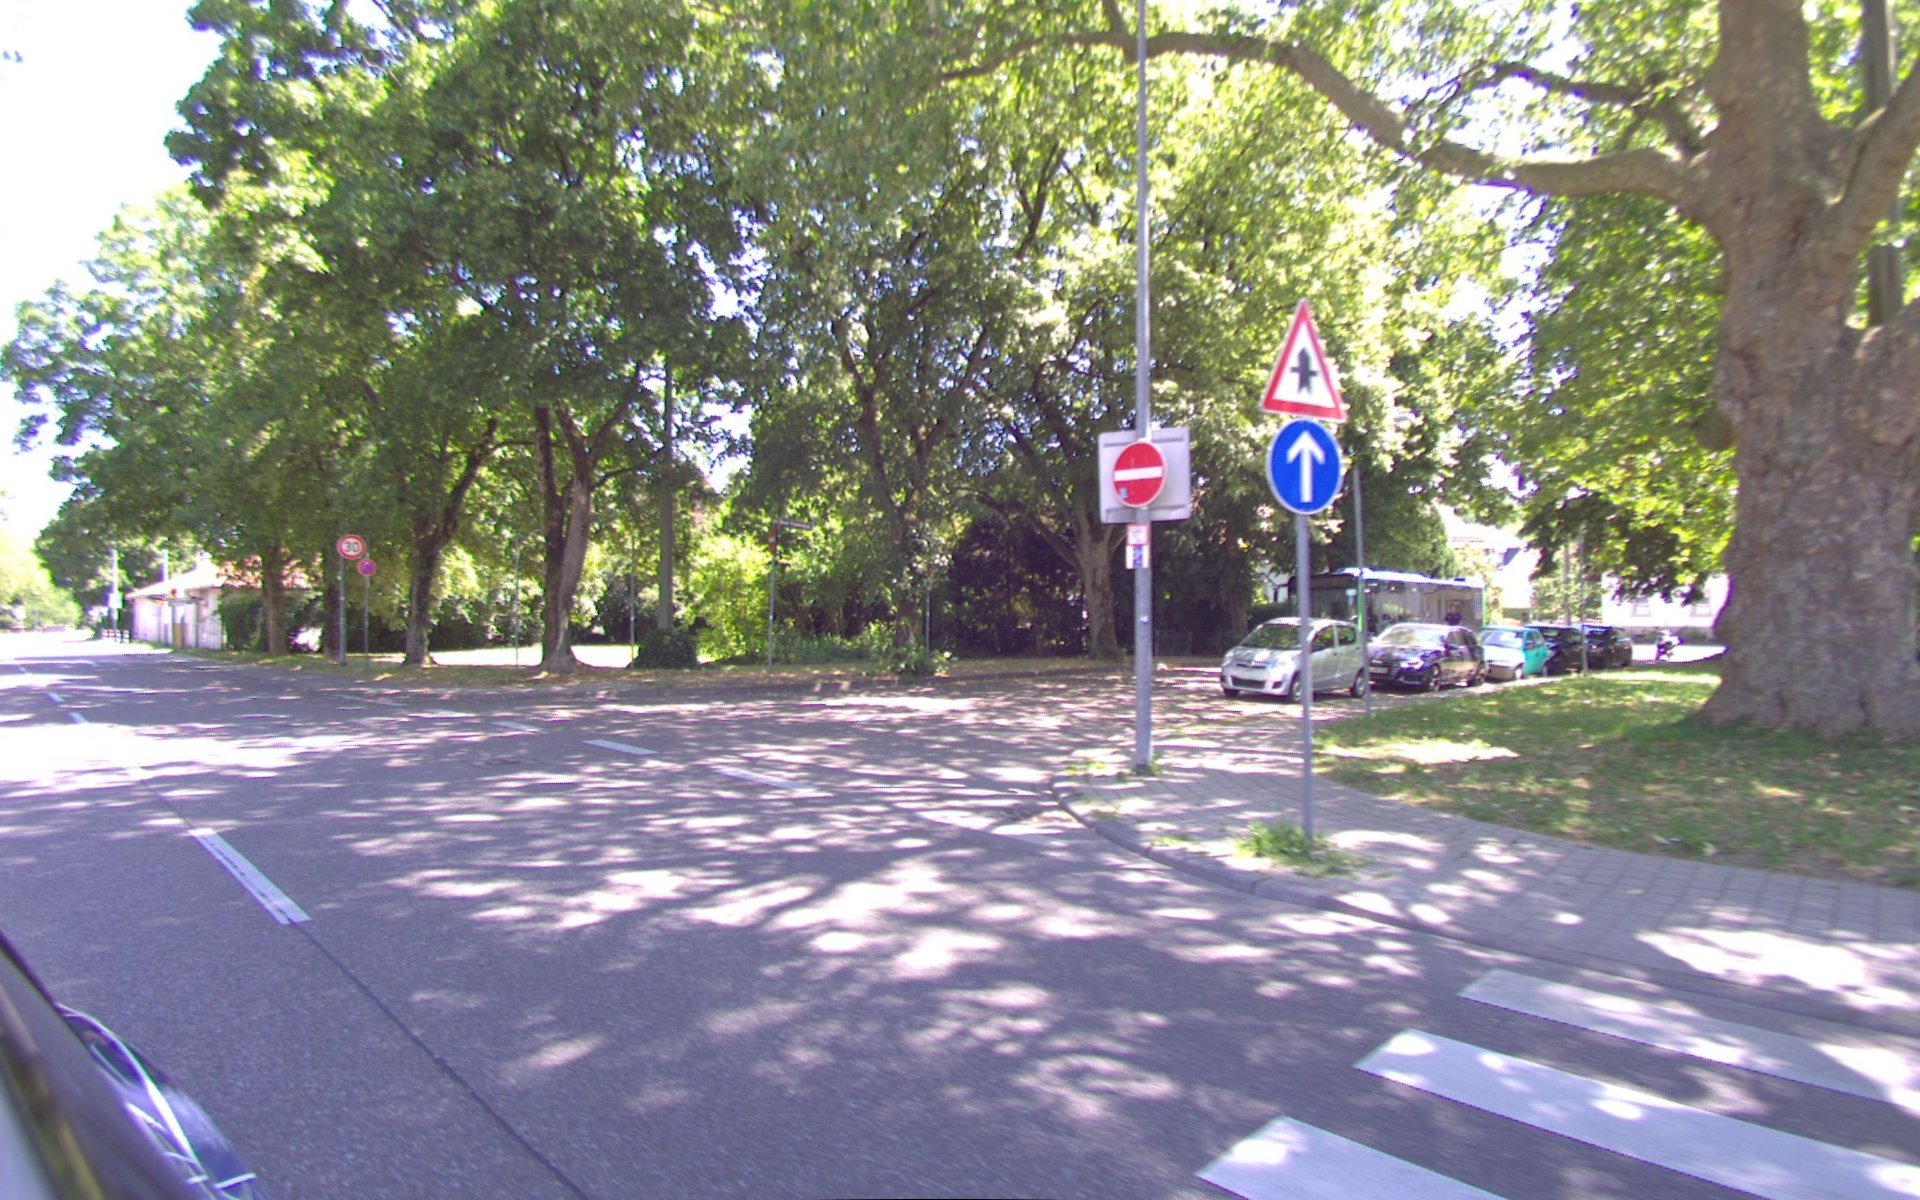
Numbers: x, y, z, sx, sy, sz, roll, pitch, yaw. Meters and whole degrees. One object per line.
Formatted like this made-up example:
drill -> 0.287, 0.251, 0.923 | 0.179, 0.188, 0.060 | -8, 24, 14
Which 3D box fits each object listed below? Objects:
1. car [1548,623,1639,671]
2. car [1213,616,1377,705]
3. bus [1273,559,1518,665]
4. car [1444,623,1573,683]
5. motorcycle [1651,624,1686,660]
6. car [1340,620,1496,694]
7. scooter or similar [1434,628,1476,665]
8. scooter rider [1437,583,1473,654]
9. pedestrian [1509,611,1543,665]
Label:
car -> 21.133, 1.520, 33.708 | 1.761, 1.504, 3.860 | -1, -2, 45
car -> 6.428, 1.075, 19.268 | 3.434, 1.508, 1.601 | 1, 0, -45
bus -> 17.052, 0.489, 38.353 | 2.879, 3.320, 15.715 | -1, -2, 45
car -> 14.767, 1.360, 27.116 | 4.699, 1.450, 1.757 | 1, -2, -45
motorcycle -> 28.844, 1.693, 41.188 | 2.227, 1.437, 0.714 | 1, -2, -44
car -> 10.398, 1.205, 22.803 | 4.436, 1.450, 1.757 | 1, 0, -45
scooter or similar -> 16.622, 1.537, 33.959 | 1.496, 1.192, 0.742 | 1, -2, -43
scooter rider -> 16.625, 0.626, 33.985 | 0.913, 2.335, 0.742 | 1, -2, -42
pedestrian -> 19.501, 1.306, 34.878 | 0.926, 1.816, 0.723 | 1, -2, -39
